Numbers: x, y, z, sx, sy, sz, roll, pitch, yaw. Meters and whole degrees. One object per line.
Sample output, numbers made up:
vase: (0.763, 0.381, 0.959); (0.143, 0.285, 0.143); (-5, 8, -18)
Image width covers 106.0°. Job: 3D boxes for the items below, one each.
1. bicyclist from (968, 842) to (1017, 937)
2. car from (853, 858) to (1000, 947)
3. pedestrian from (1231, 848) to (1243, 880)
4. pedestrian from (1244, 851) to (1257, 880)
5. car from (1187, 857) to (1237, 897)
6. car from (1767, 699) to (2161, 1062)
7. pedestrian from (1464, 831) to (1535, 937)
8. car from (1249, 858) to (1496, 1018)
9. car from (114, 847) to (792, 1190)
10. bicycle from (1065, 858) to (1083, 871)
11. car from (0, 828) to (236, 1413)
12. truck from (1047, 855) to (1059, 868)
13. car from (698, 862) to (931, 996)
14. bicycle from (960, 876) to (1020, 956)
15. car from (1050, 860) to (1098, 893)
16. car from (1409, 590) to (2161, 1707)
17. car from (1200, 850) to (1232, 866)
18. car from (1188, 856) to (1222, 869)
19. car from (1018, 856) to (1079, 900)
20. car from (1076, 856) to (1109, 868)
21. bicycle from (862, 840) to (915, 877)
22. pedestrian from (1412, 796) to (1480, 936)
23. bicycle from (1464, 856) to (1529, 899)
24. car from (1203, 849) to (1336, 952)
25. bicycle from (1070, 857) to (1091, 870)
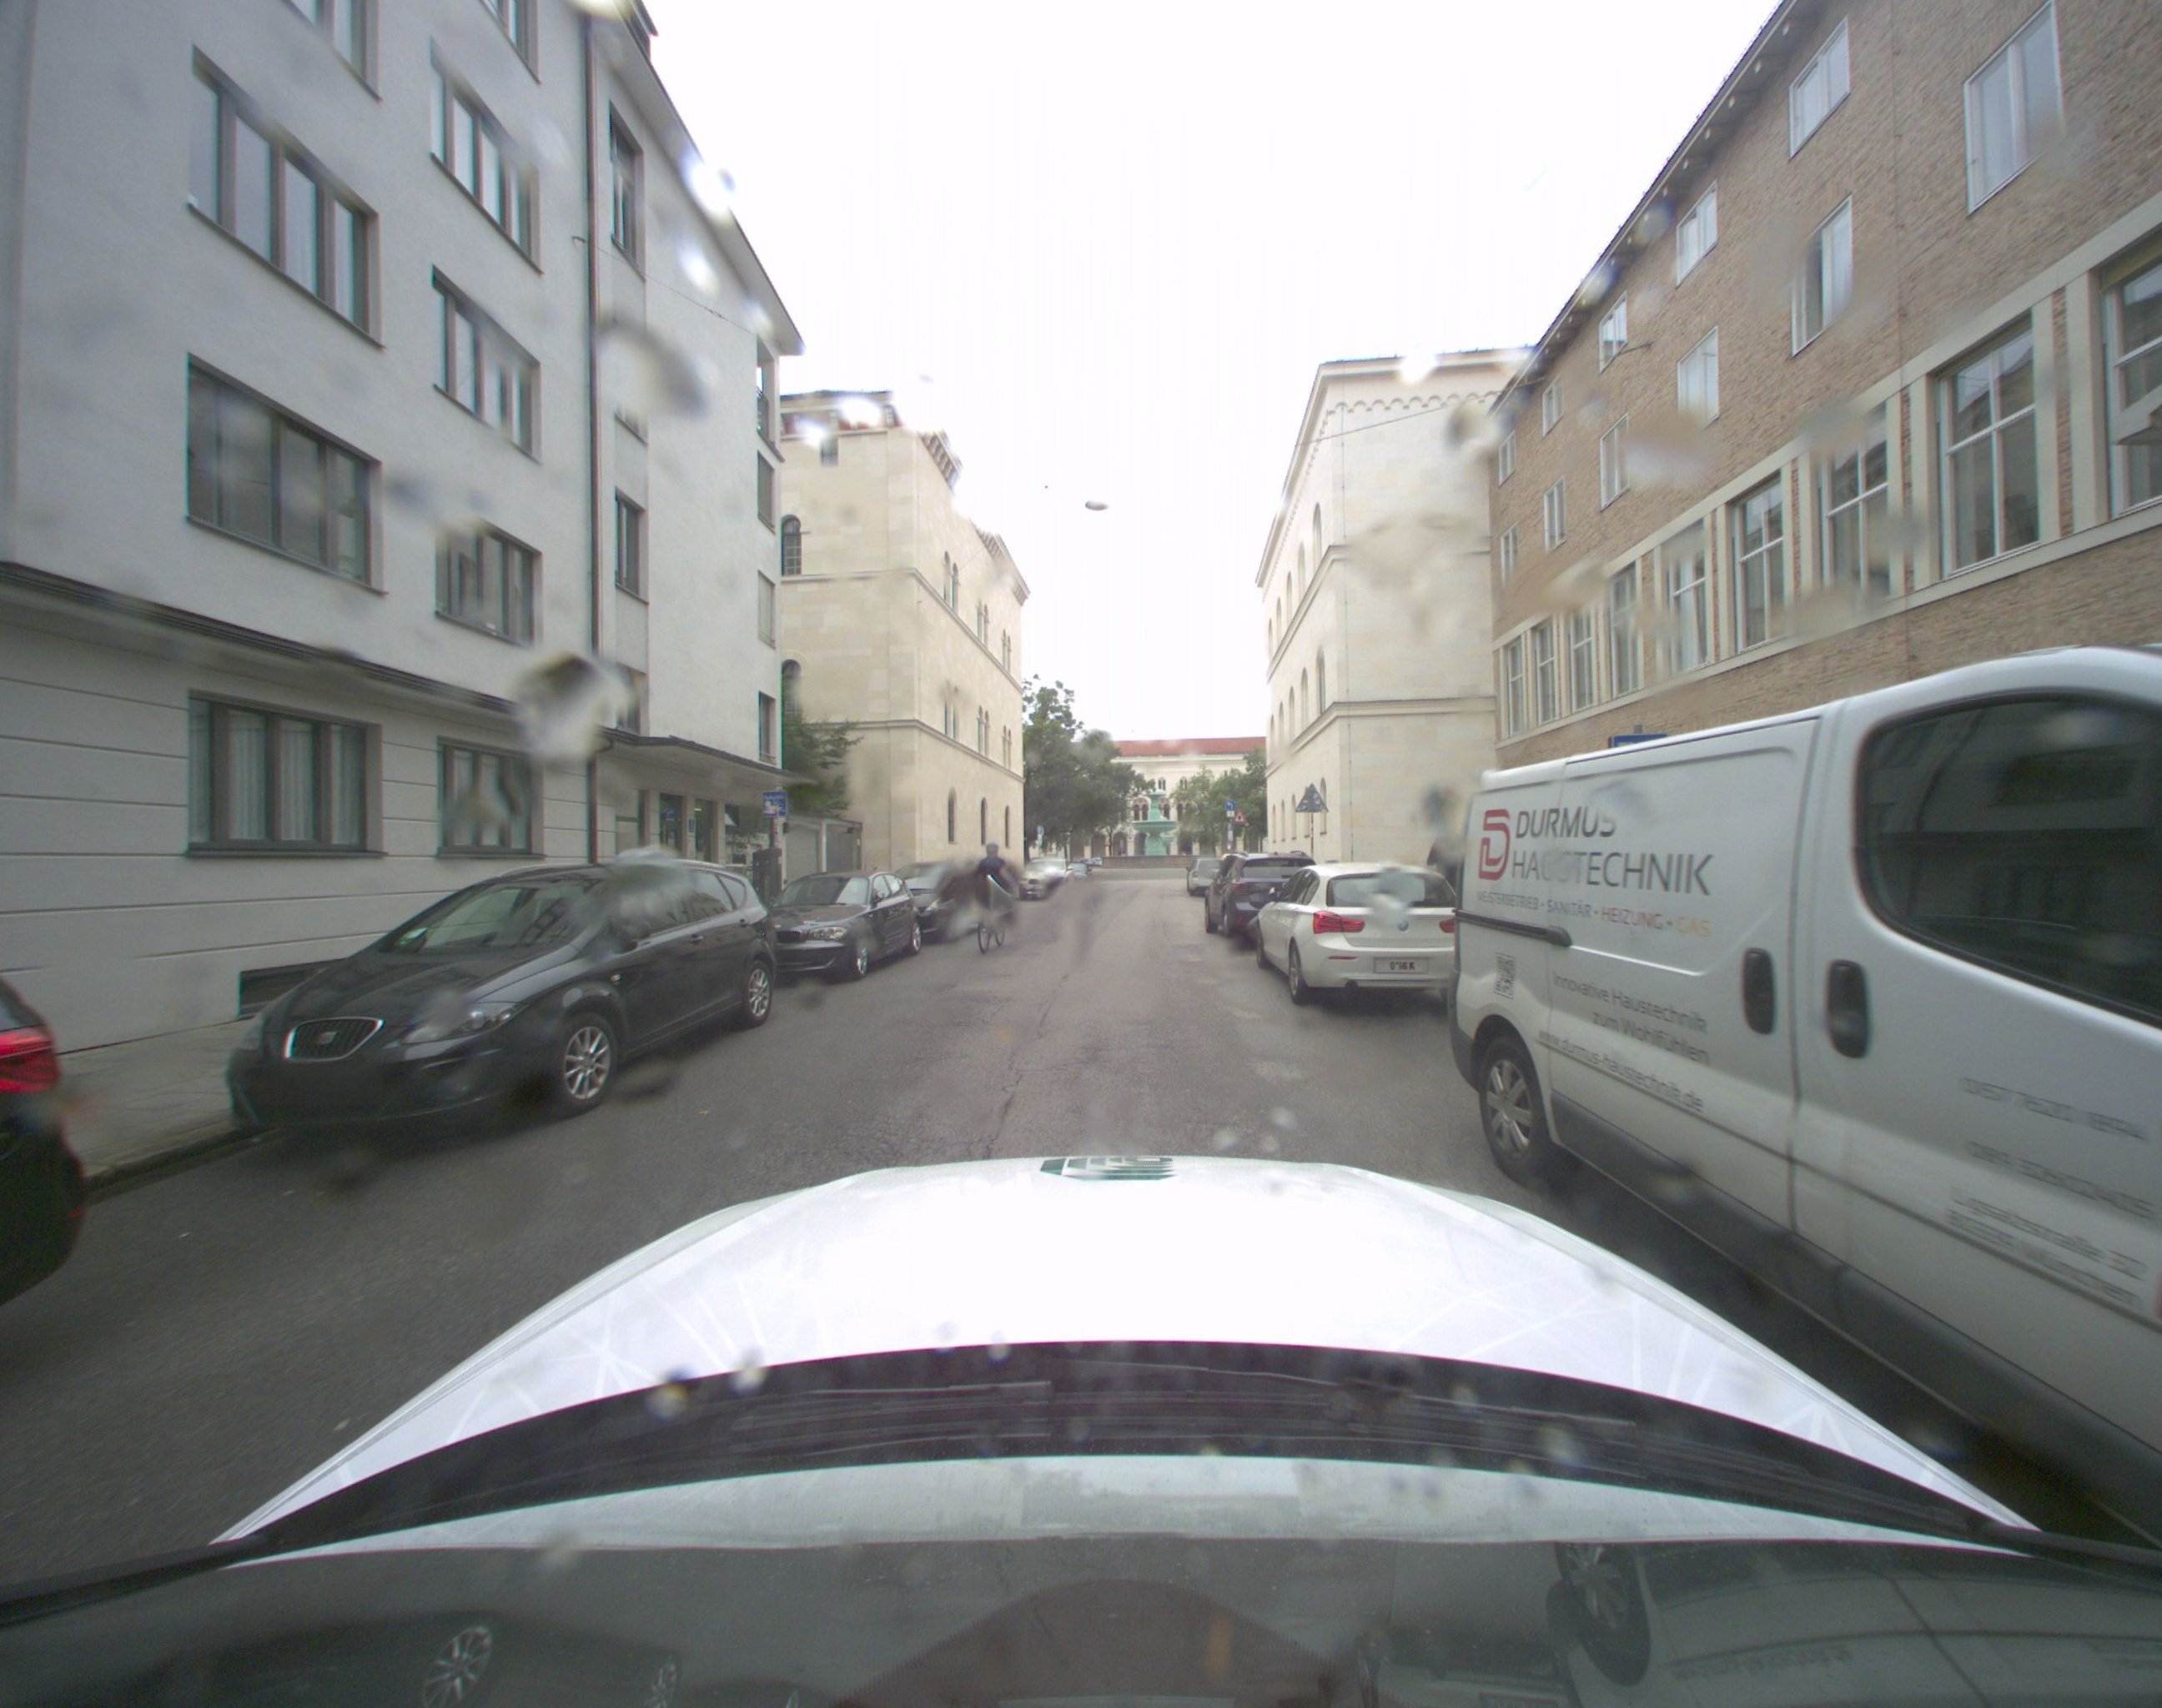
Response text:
bicyclist: (-1.500, 0.584, 13.906); (0.654, 1.551, 0.888); (-2, -1, 3)
car: (-2.972, 0.880, 16.554); (1.741, 1.453, 4.023); (-3, 1, 6)
pedestrian: (8.941, 0.550, 46.783); (0.637, 1.808, 0.490); (-1, 0, 11)
pedestrian: (9.777, 0.672, 46.962); (0.618, 1.681, 0.545); (0, 0, 0)
car: (5.084, 0.851, 32.126); (1.780, 1.476, 4.321); (0, 0, 7)
car: (6.857, 0.132, 5.566); (1.657, 2.013, 3.259); (-1, 0, 2)
pedestrian: (6.873, 0.479, 13.415); (0.852, 1.693, 0.754); (-1, 1, 11)
car: (3.073, 0.778, 9.485); (1.665, 1.417, 4.206); (-1, 0, 5)
car: (-3.932, 0.826, 6.202); (1.866, 1.658, 4.080); (-3, 1, 1)
bicycle: (-0.617, 0.917, 72.273); (1.390, 1.099, 0.659); (-1, 0, 17)
car: (-3.974, 0.812, 0.623); (1.867, 1.658, 4.587); (-3, 1, -2)
truck: (-5.385, 1.440, 156.483); (1.990, 2.489, 3.993); (0, 0, -5)
car: (-3.580, 0.922, 11.806); (1.743, 1.453, 4.020); (-3, 1, 4)
bicycle: (-1.514, 1.012, 13.828); (0.646, 1.197, 1.952); (-2, 0, 3)
car: (-0.251, 1.005, 38.134); (1.690, 1.393, 4.219); (-3, -1, 6)
car: (2.773, 0.511, 2.364); (1.874, 1.924, 4.878); (-1, 0, 3)
car: (17.170, 0.478, 103.786); (3.964, 2.013, 2.005); (0, 0, 8)
car: (15.137, 0.999, 99.399); (3.964, 1.403, 1.829); (-2, 0, 8)
car: (-1.189, 0.908, 31.820); (1.770, 1.535, 4.217); (-3, -1, 5)
car: (1.413, 1.019, 100.696); (3.968, 1.376, 2.003); (-1, 0, 4)
bicycle: (-6.561, 0.153, 27.753); (1.699, 1.178, 0.478); (-2, 0, 15)
pedestrian: (5.893, 0.187, 13.196); (0.789, 2.197, 0.815); (-1, 0, 8)
bicycle: (10.606, 0.606, 20.826); (1.422, 1.042, 0.349); (-2, 0, 4)
car: (3.228, 0.731, 14.651); (1.739, 1.594, 3.960); (-1, 0, 4)
bicycle: (-0.024, 0.822, 70.321); (1.696, 1.099, 0.701); (-1, 0, 17)
